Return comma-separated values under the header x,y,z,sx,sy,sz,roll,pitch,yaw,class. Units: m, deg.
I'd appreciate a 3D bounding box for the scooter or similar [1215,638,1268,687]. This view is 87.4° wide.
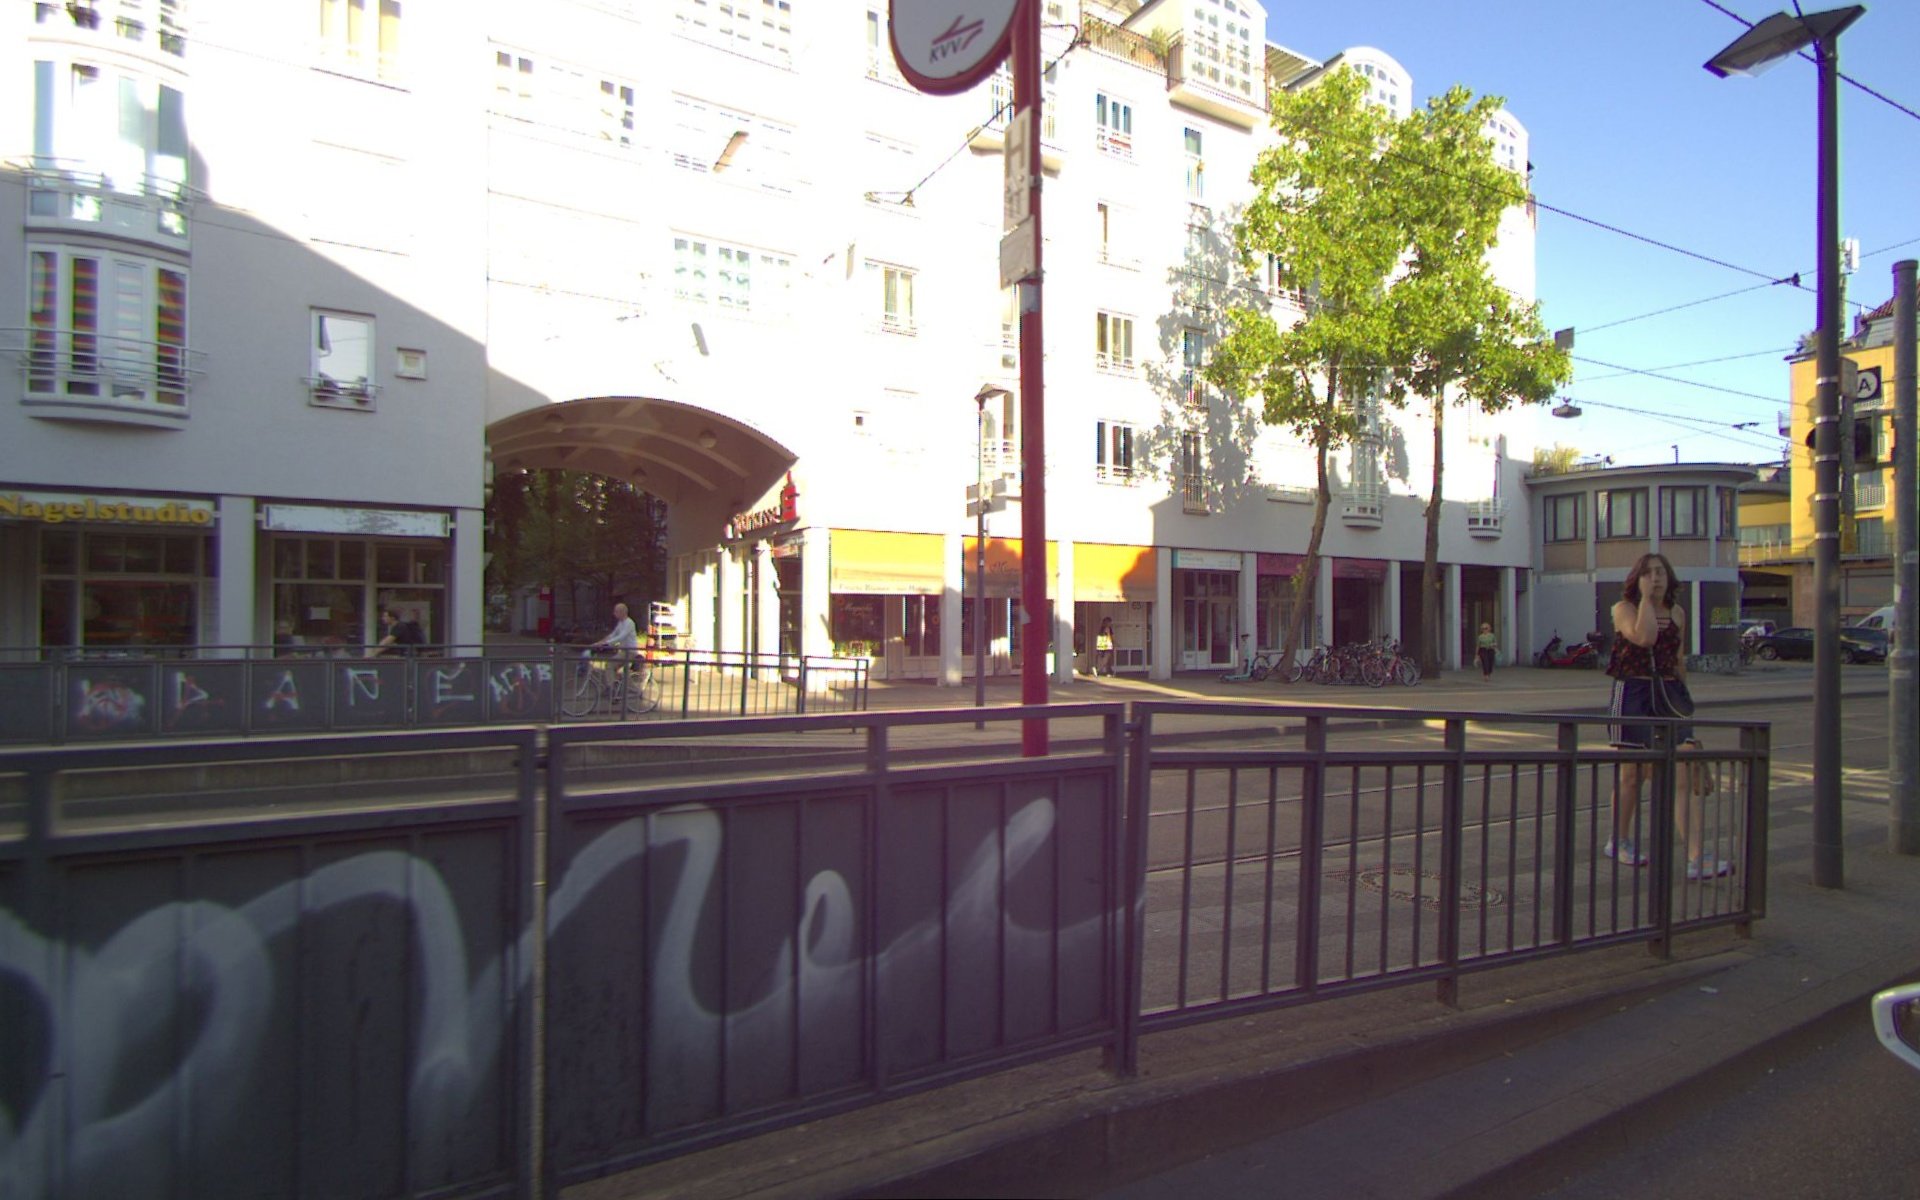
x,y,z,sx,sy,sz,roll,pitch,yaw,class
7.280,1.615,25.997,1.252,1.209,0.498,0,2,-19,scooter or similar

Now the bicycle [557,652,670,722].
x,y,z,sx,sy,sz,roll,pitch,yaw,class
-6.055,1.495,17.577,1.779,1.122,0.652,1,-2,-31,bicycle

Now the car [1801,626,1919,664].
x,y,z,sx,sy,sz,roll,pitch,yaw,class
39.934,1.959,44.326,1.778,1.530,3.969,1,-1,-29,car

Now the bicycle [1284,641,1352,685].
x,y,z,sx,sy,sz,roll,pitch,yaw,class
9.576,1.675,26.844,1.772,1.122,0.498,1,2,-19,bicycle

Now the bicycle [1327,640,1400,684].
x,y,z,sx,sy,sz,roll,pitch,yaw,class
11.064,1.693,27.554,1.763,1.122,0.500,1,2,10,bicycle

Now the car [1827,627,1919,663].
x,y,z,sx,sy,sz,roll,pitch,yaw,class
42.138,2.003,45.511,1.778,1.530,3.969,1,-1,-29,car

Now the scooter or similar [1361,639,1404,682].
x,y,z,sx,sy,sz,roll,pitch,yaw,class
12.144,1.729,28.875,1.257,1.208,0.496,1,-1,-30,scooter or similar

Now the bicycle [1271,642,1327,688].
x,y,z,sx,sy,sz,roll,pitch,yaw,class
8.745,1.671,25.935,1.247,1.122,0.500,1,2,-4,bicycle

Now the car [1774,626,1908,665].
x,y,z,sx,sy,sz,roll,pitch,yaw,class
37.704,1.912,43.090,1.778,1.530,3.969,1,-1,-29,car

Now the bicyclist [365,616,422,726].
x,y,z,sx,sy,sz,roll,pitch,yaw,class
-8.431,1.034,14.967,0.711,1.589,0.726,1,-2,-30,bicyclist

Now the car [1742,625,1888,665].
x,y,z,sx,sy,sz,roll,pitch,yaw,class
35.400,1.815,41.728,1.778,1.530,4.300,1,-1,-29,car

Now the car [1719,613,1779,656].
x,y,z,sx,sy,sz,roll,pitch,yaw,class
43.030,1.870,54.742,3.966,2.237,1.780,1,-1,-40,car

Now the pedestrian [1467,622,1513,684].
x,y,z,sx,sy,sz,roll,pitch,yaw,class
15.248,1.500,28.897,1.001,1.683,0.918,2,1,37,pedestrian

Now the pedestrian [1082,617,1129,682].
x,y,z,sx,sy,sz,roll,pitch,yaw,class
3.948,1.329,27.314,0.870,1.683,0.853,1,1,-33,pedestrian

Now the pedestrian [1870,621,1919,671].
x,y,z,sx,sy,sz,roll,pitch,yaw,class
35.214,1.726,37.796,1.129,1.839,0.911,0,-1,1,pedestrian

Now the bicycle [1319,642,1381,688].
x,y,z,sx,sy,sz,roll,pitch,yaw,class
10.273,1.703,26.459,1.779,1.122,0.496,0,2,-31,bicycle

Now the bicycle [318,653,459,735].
x,y,z,sx,sy,sz,roll,pitch,yaw,class
-8.470,1.365,14.942,1.779,1.122,0.726,1,-2,-31,bicycle

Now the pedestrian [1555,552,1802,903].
x,y,z,sx,sy,sz,roll,pitch,yaw,class
3.931,0.623,5.526,0.779,1.737,0.864,-1,1,-33,pedestrian

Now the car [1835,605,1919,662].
x,y,z,sx,sy,sz,roll,pitch,yaw,class
44.353,1.542,46.784,2.103,2.610,5.083,1,-1,-29,car

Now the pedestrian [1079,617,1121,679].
x,y,z,sx,sy,sz,roll,pitch,yaw,class
3.961,1.337,28.433,0.786,1.683,0.853,1,1,-33,pedestrian

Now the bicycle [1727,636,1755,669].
x,y,z,sx,sy,sz,roll,pitch,yaw,class
27.354,1.838,35.178,1.787,1.122,0.494,1,-1,-43,bicycle

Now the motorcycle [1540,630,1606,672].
x,y,z,sx,sy,sz,roll,pitch,yaw,class
20.836,1.712,34.173,0.600,1.315,1.781,1,1,-36,motorcycle

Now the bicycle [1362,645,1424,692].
x,y,z,sx,sy,sz,roll,pitch,yaw,class
11.136,1.740,25.835,1.779,1.122,0.496,0,2,-31,bicycle

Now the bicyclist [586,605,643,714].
x,y,z,sx,sy,sz,roll,pitch,yaw,class
-6.055,1.024,17.591,0.835,1.860,0.652,1,-2,-30,bicyclist

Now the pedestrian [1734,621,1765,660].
x,y,z,sx,sy,sz,roll,pitch,yaw,class
34.607,1.772,44.042,0.873,1.674,0.764,0,-1,17,pedestrian

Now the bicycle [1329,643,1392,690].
x,y,z,sx,sy,sz,roll,pitch,yaw,class
10.390,1.711,26.031,1.779,1.122,0.496,0,2,-31,bicycle
